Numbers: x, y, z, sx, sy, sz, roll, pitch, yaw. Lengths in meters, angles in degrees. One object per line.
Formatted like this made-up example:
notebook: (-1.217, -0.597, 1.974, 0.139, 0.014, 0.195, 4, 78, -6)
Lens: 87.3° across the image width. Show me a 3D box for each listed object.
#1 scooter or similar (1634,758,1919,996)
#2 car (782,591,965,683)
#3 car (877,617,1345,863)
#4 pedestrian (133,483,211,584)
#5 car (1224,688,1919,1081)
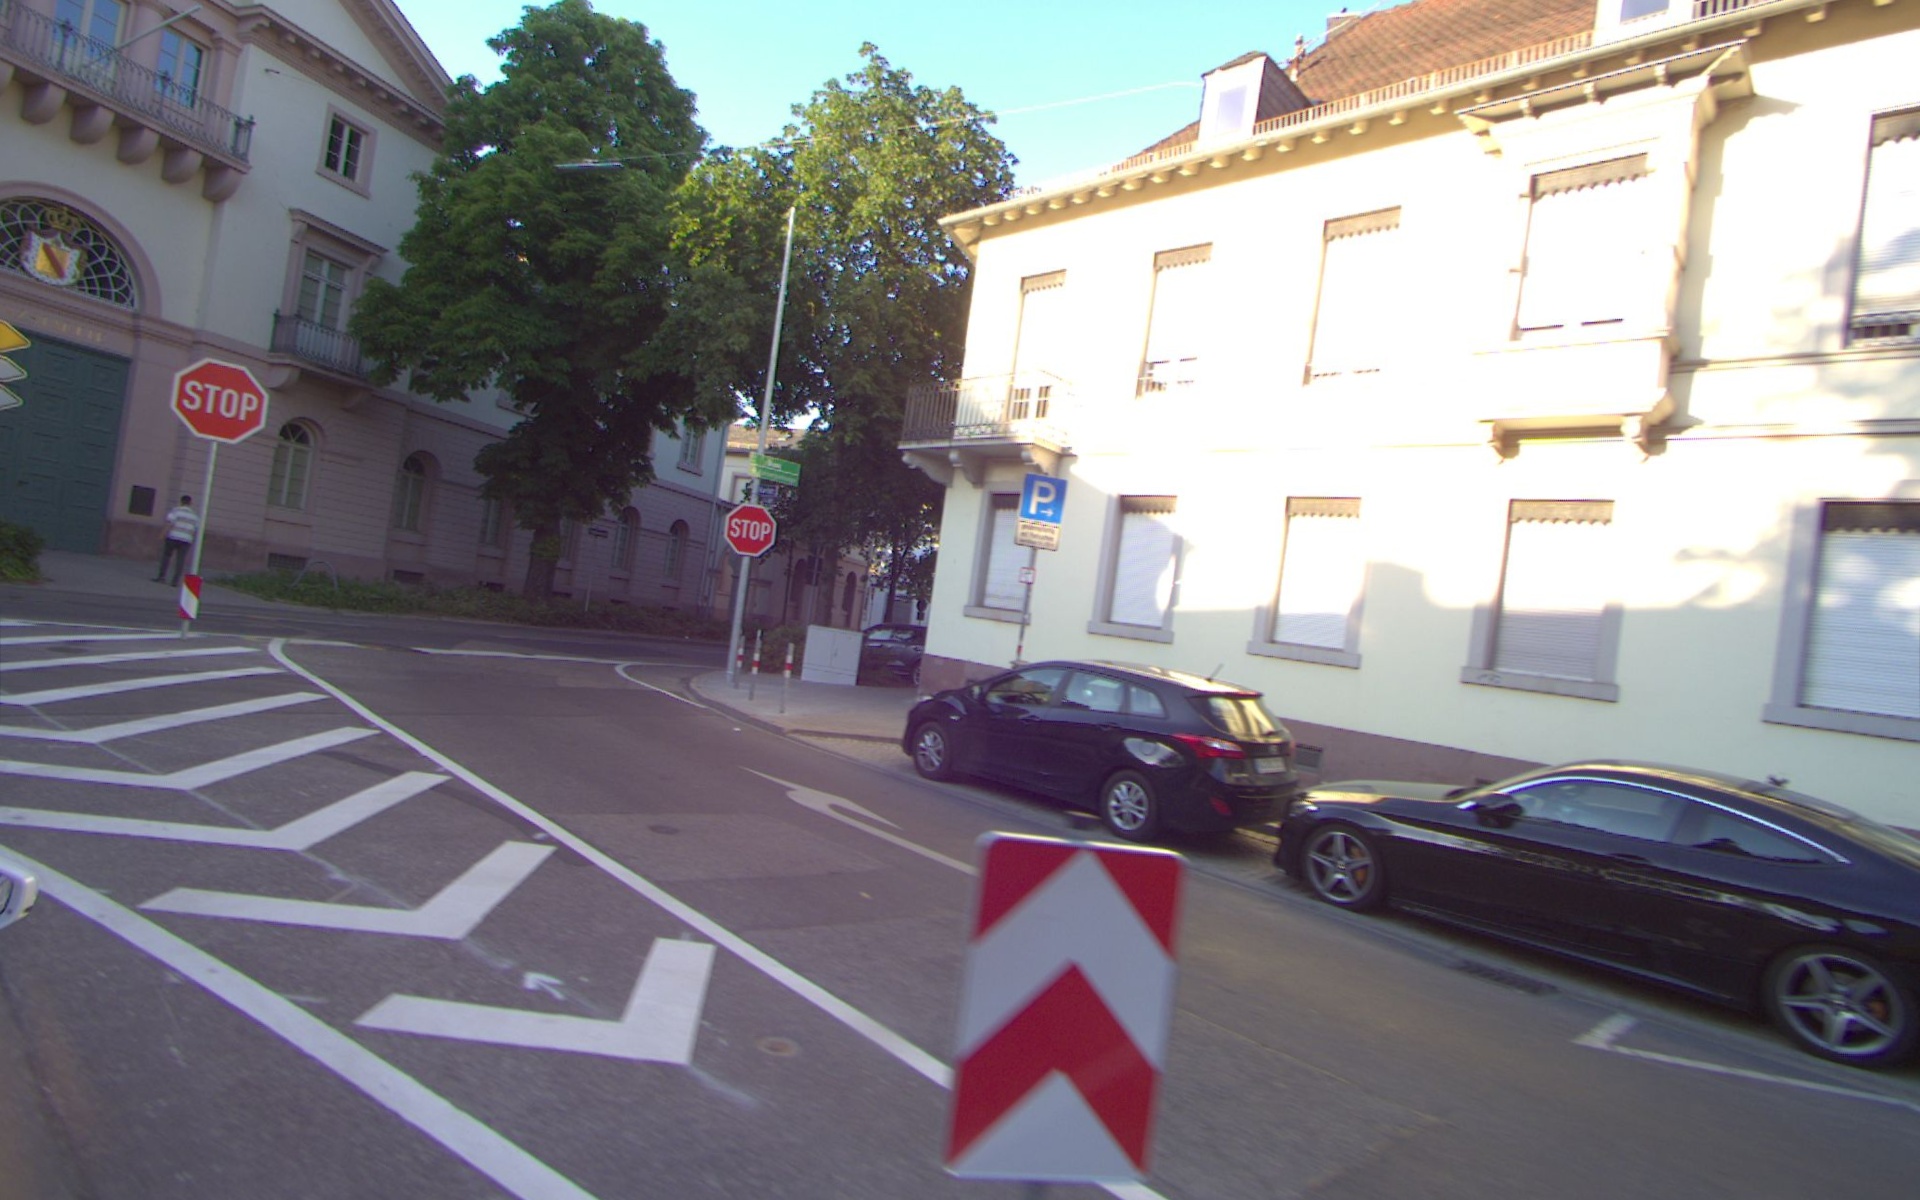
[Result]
scooter or similar: (6.139, 1.947, 7.407, 0.598, 1.248, 1.754, 5, 1, -34)
car: (-2.121, 0.918, 24.879, 3.926, 1.633, 1.830, 8, -1, 21)
car: (1.326, 1.276, 10.261, 1.799, 1.559, 4.375, 11, -3, -44)
pedestrian: (-15.794, -1.312, 20.187, 0.791, 1.853, 0.924, 9, -1, -23)
car: (4.452, 1.719, 6.883, 1.769, 1.410, 4.798, 11, -3, -43)
